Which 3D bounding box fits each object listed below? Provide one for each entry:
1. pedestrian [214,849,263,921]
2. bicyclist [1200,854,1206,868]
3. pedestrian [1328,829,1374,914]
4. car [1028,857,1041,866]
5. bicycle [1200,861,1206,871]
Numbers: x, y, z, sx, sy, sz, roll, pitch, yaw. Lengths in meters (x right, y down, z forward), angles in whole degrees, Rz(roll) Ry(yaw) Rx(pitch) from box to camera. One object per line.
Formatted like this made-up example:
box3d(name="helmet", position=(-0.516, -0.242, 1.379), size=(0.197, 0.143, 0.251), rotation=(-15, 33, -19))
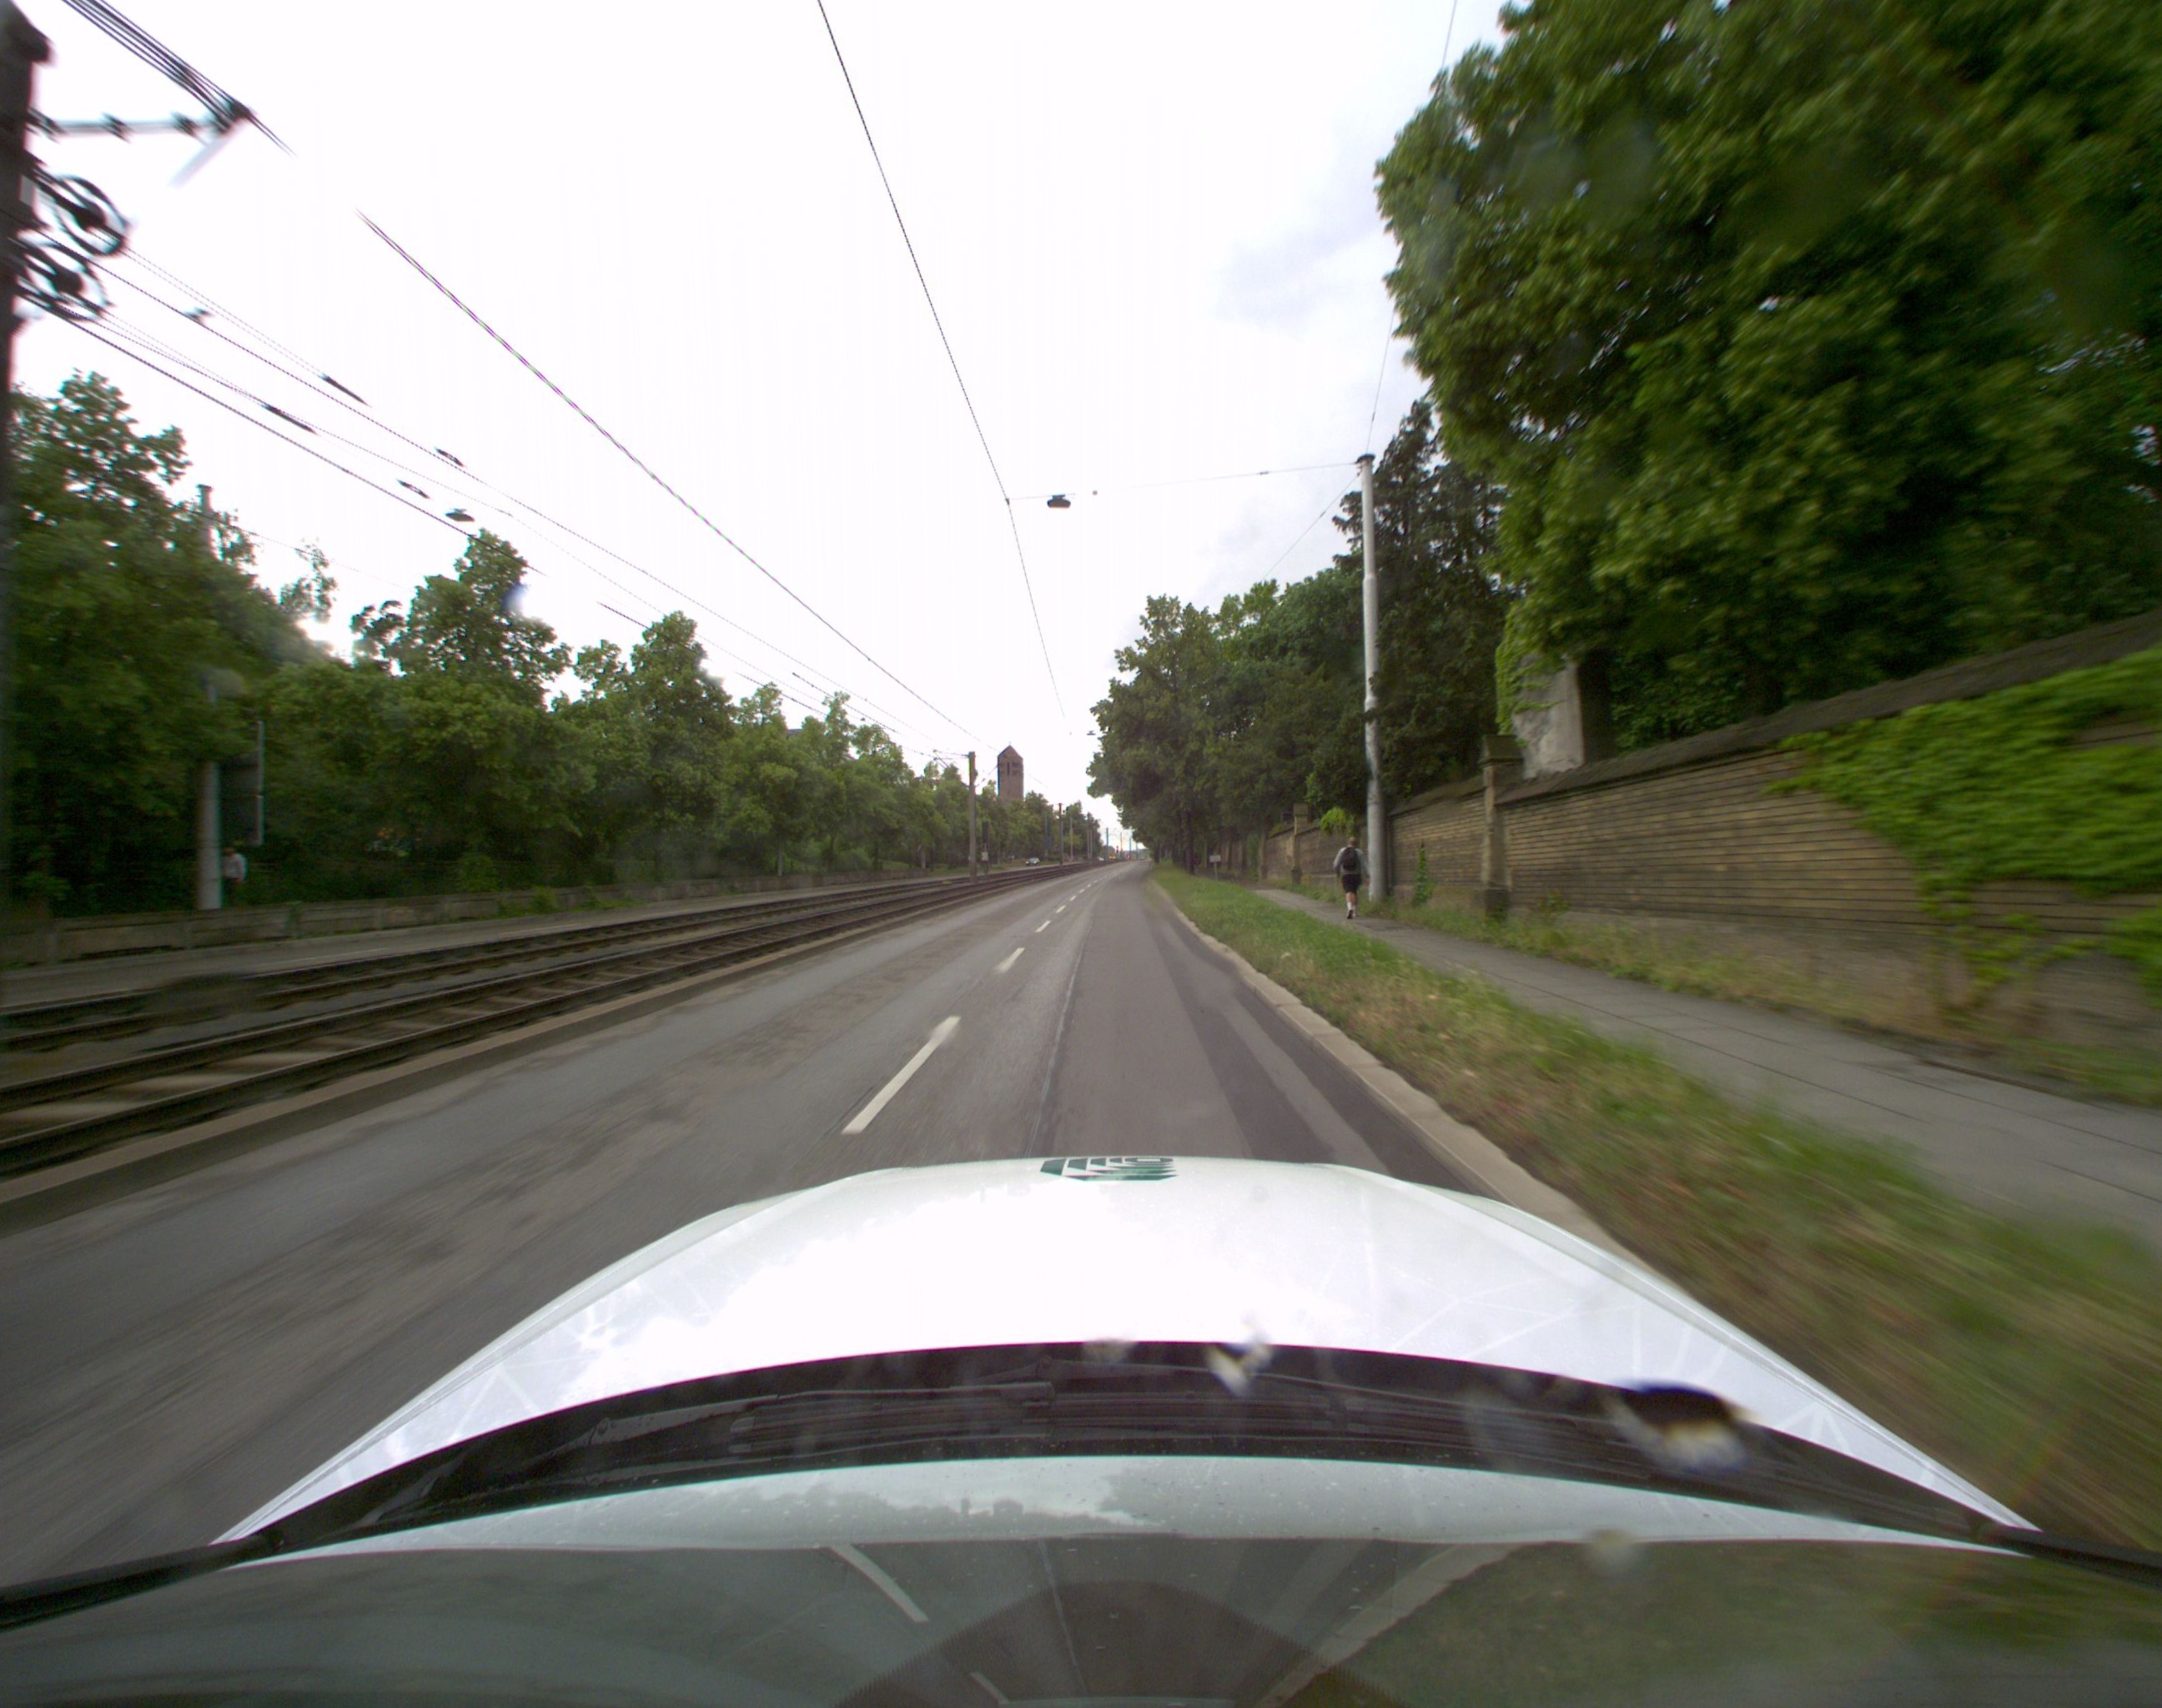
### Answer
box3d(name="pedestrian", position=(-22.767, 0.826, 22.008), size=(0.593, 1.903, 0.654), rotation=(0, -1, 1))
box3d(name="bicyclist", position=(12.438, 0.732, 83.096), size=(0.532, 1.389, 0.668), rotation=(-1, -1, 8))
box3d(name="pedestrian", position=(5.785, 0.361, 17.485), size=(0.705, 1.779, 0.901), rotation=(-1, 0, 2))
box3d(name="car", position=(-8.269, 1.341, 145.270), size=(1.787, 1.530, 4.626), rotation=(-1, 0, 4))
box3d(name="bicycle", position=(12.411, 1.214, 82.889), size=(0.539, 0.948, 2.555), rotation=(-1, -1, 8))
